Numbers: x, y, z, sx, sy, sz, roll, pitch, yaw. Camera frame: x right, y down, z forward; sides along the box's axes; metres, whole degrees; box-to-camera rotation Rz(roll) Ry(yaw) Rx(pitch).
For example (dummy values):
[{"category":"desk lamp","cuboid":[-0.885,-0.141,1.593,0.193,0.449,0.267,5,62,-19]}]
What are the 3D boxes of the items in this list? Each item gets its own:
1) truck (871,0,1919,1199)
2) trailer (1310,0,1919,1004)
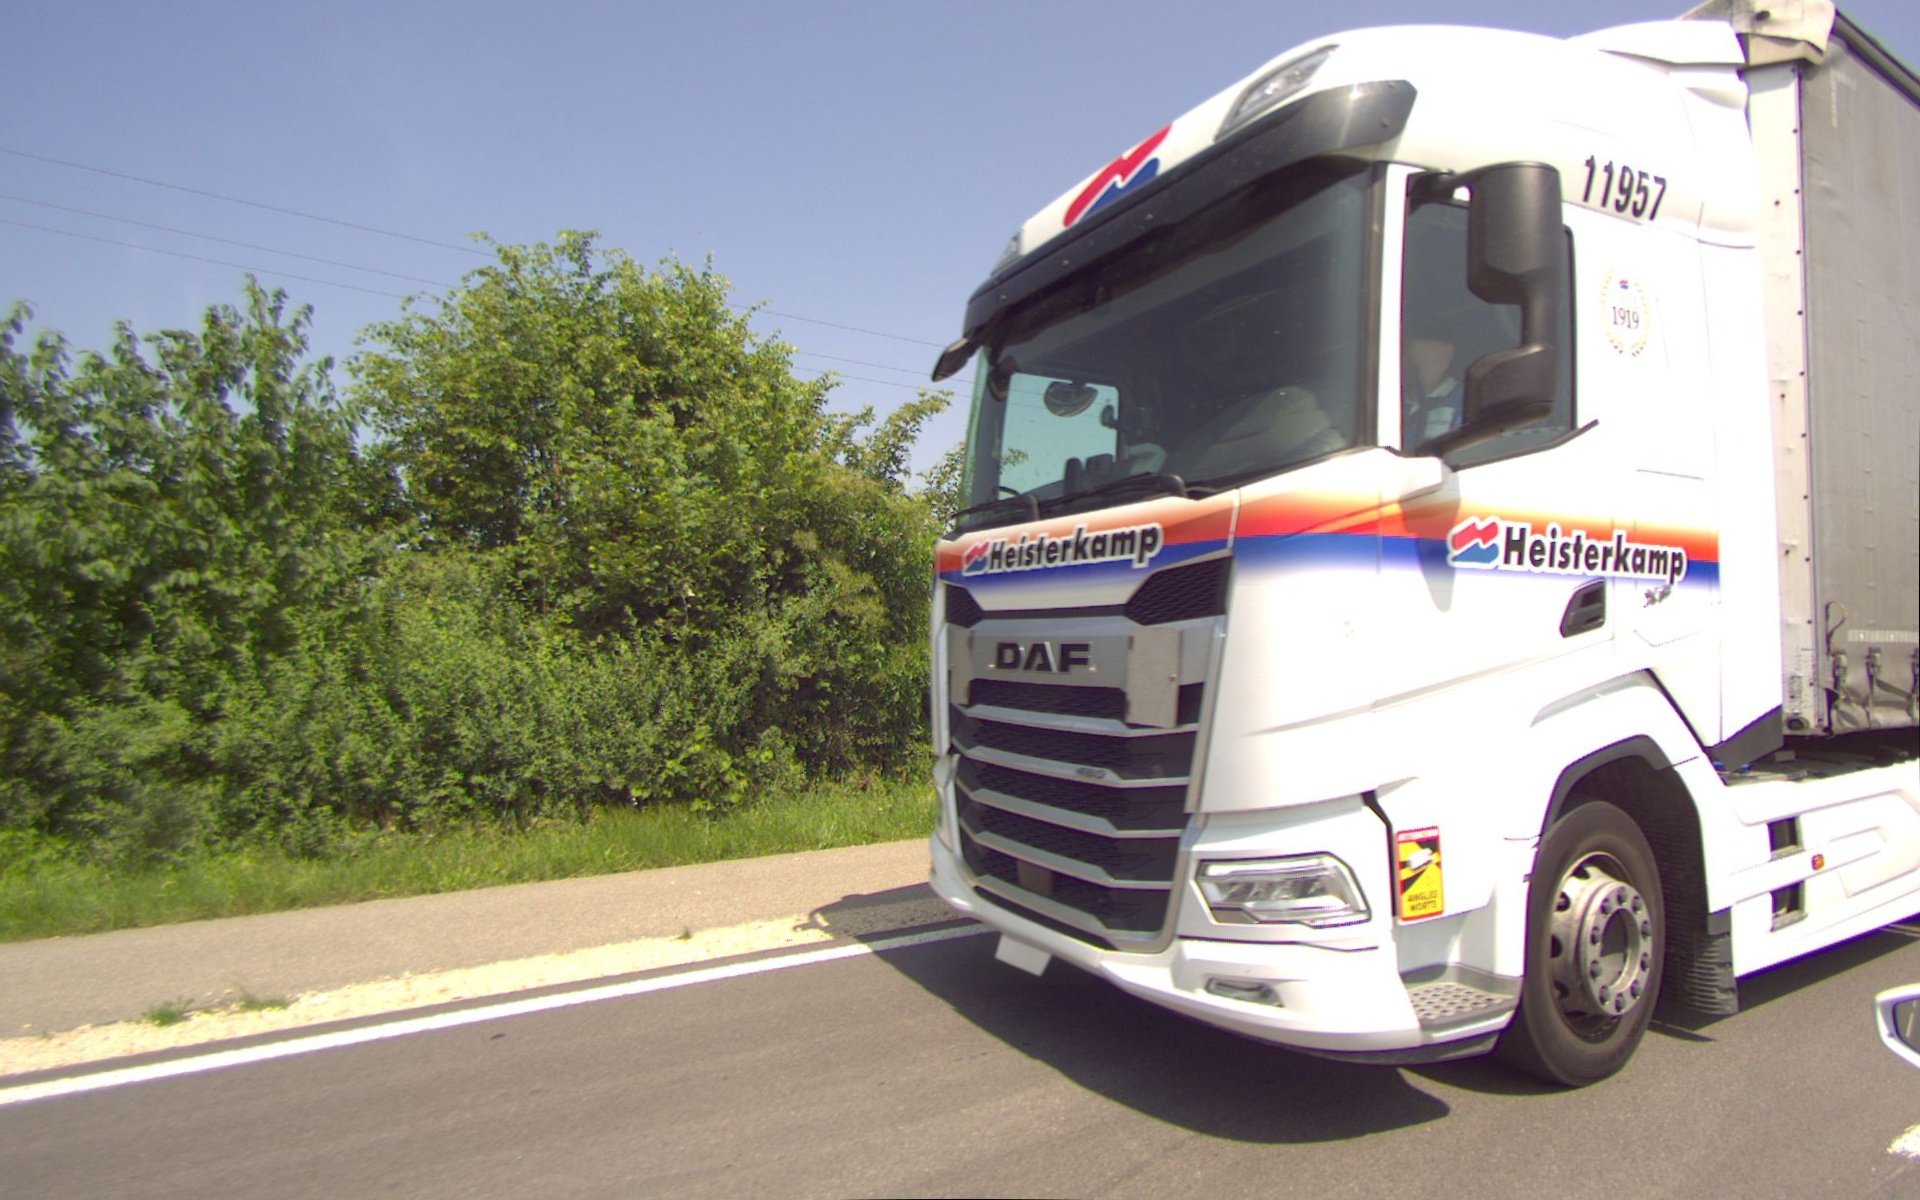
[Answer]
[{"category":"truck","cuboid":[3.387,-0.496,5.517,7.302,4.321,2.705,1,-3,-30]},{"category":"trailer","cuboid":[8.833,-0.365,8.729,13.647,4.321,2.705,1,-3,-30]}]
